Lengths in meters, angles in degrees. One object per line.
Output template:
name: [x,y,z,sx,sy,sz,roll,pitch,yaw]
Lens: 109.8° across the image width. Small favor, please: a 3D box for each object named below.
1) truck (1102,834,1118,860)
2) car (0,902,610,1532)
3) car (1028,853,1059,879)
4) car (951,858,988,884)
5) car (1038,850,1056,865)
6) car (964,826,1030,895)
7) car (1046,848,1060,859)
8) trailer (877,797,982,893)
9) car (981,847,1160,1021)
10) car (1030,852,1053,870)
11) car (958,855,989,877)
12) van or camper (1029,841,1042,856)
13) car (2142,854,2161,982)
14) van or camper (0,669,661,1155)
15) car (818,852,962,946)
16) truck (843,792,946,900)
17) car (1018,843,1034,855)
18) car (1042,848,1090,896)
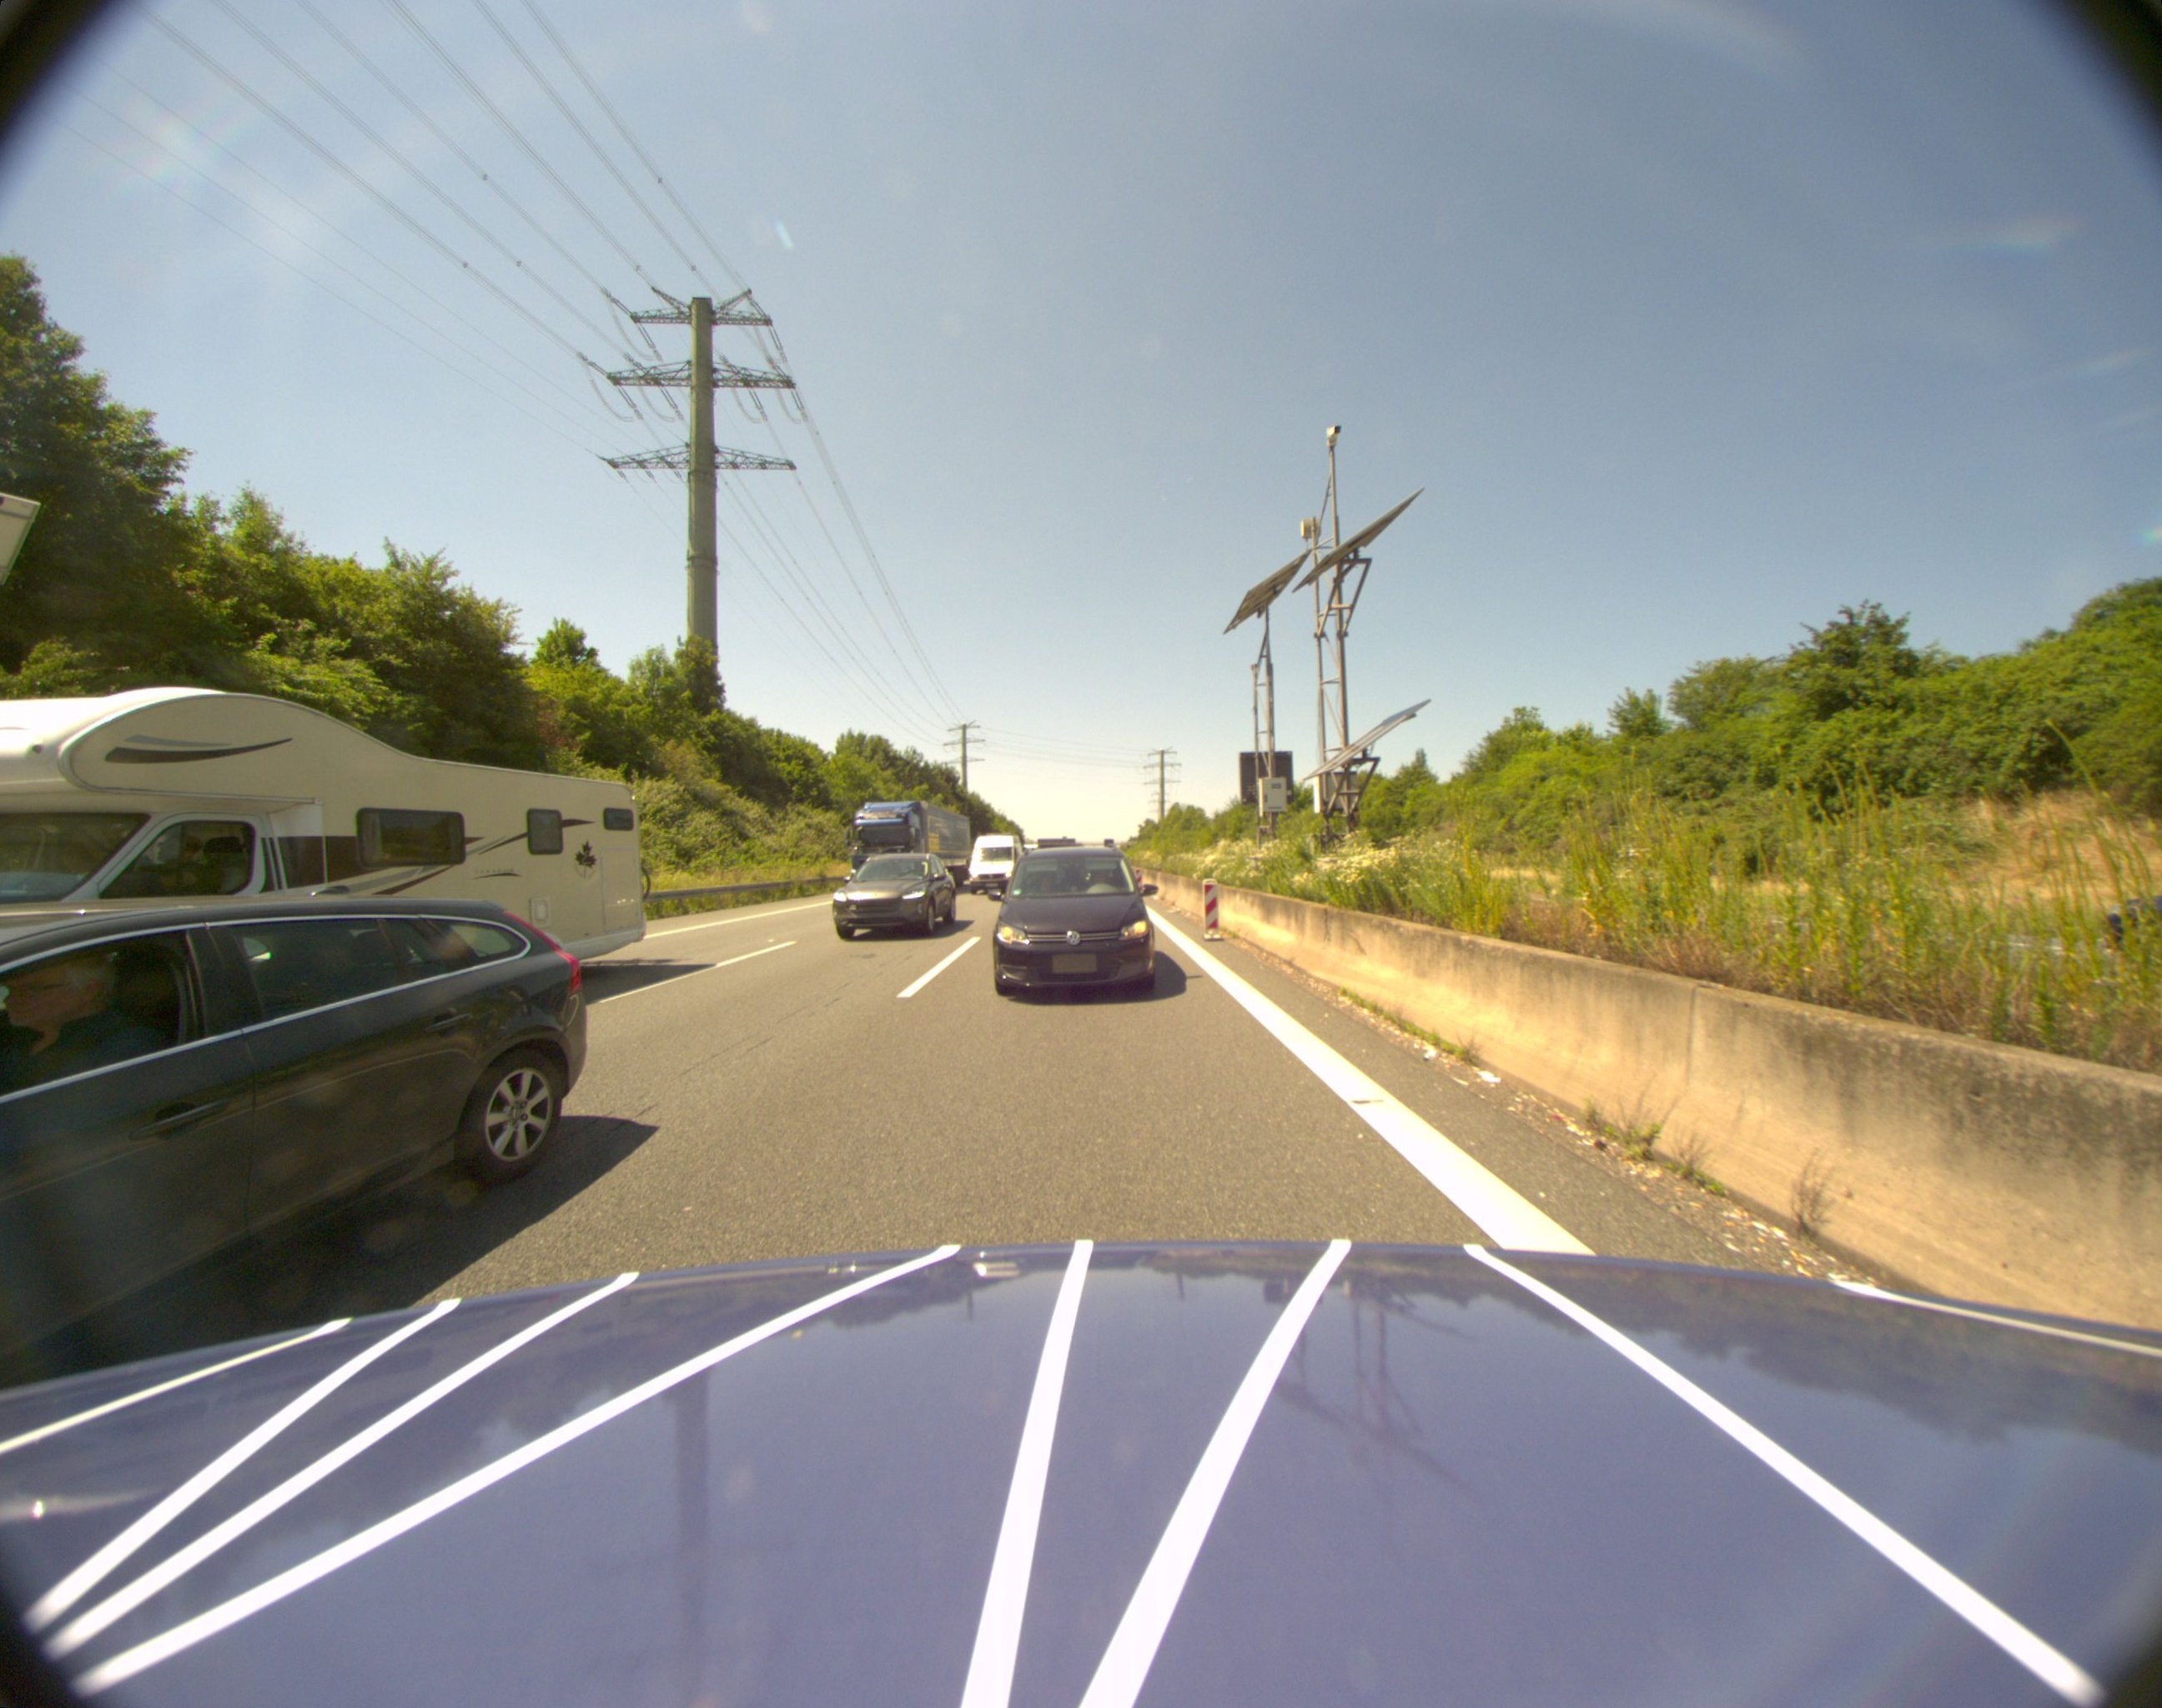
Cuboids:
truck: [3.776,-0.894,99.800,1.892,3.264,5.590,-2,1,1]
car: [-3.660,1.046,2.110,1.799,1.411,4.509,-2,1,0]
car: [-2.393,0.756,49.237,1.720,1.510,3.873,-2,1,1]
car: [-7.256,1.073,49.939,1.720,1.510,3.873,-2,1,1]
car: [-3.827,0.392,85.165,1.720,1.510,3.873,-2,1,1]
car: [-3.620,0.237,34.137,2.042,2.703,6.705,-2,1,0]
car: [-3.898,-0.122,107.562,1.720,1.510,3.873,-2,1,1]
trailer: [-7.730,-0.493,40.973,2.774,4.239,12.876,-2,1,0]
car: [-0.086,0.779,9.614,1.700,1.641,4.219,-2,1,0]
car: [-3.514,0.600,67.677,1.720,1.510,3.873,-2,1,1]
car: [-8.274,0.915,58.546,1.720,1.510,3.873,-2,1,1]
van or camper: [-7.934,-0.931,133.052,1.978,2.511,4.369,-2,1,1]
car: [14.864,0.860,7.599,1.998,1.640,4.630,1,0,0]
van or camper: [-7.883,0.358,8.060,2.375,3.026,7.631,-2,1,1]
car: [-3.837,0.822,16.075,1.893,1.602,4.219,-2,1,0]
truck: [-7.807,-0.348,32.612,2.792,4.121,5.636,-2,1,1]
car: [-7.251,-0.695,100.589,1.720,1.510,3.873,-2,1,1]
car: [-0.537,0.647,29.980,1.700,1.641,4.219,-2,1,0]
